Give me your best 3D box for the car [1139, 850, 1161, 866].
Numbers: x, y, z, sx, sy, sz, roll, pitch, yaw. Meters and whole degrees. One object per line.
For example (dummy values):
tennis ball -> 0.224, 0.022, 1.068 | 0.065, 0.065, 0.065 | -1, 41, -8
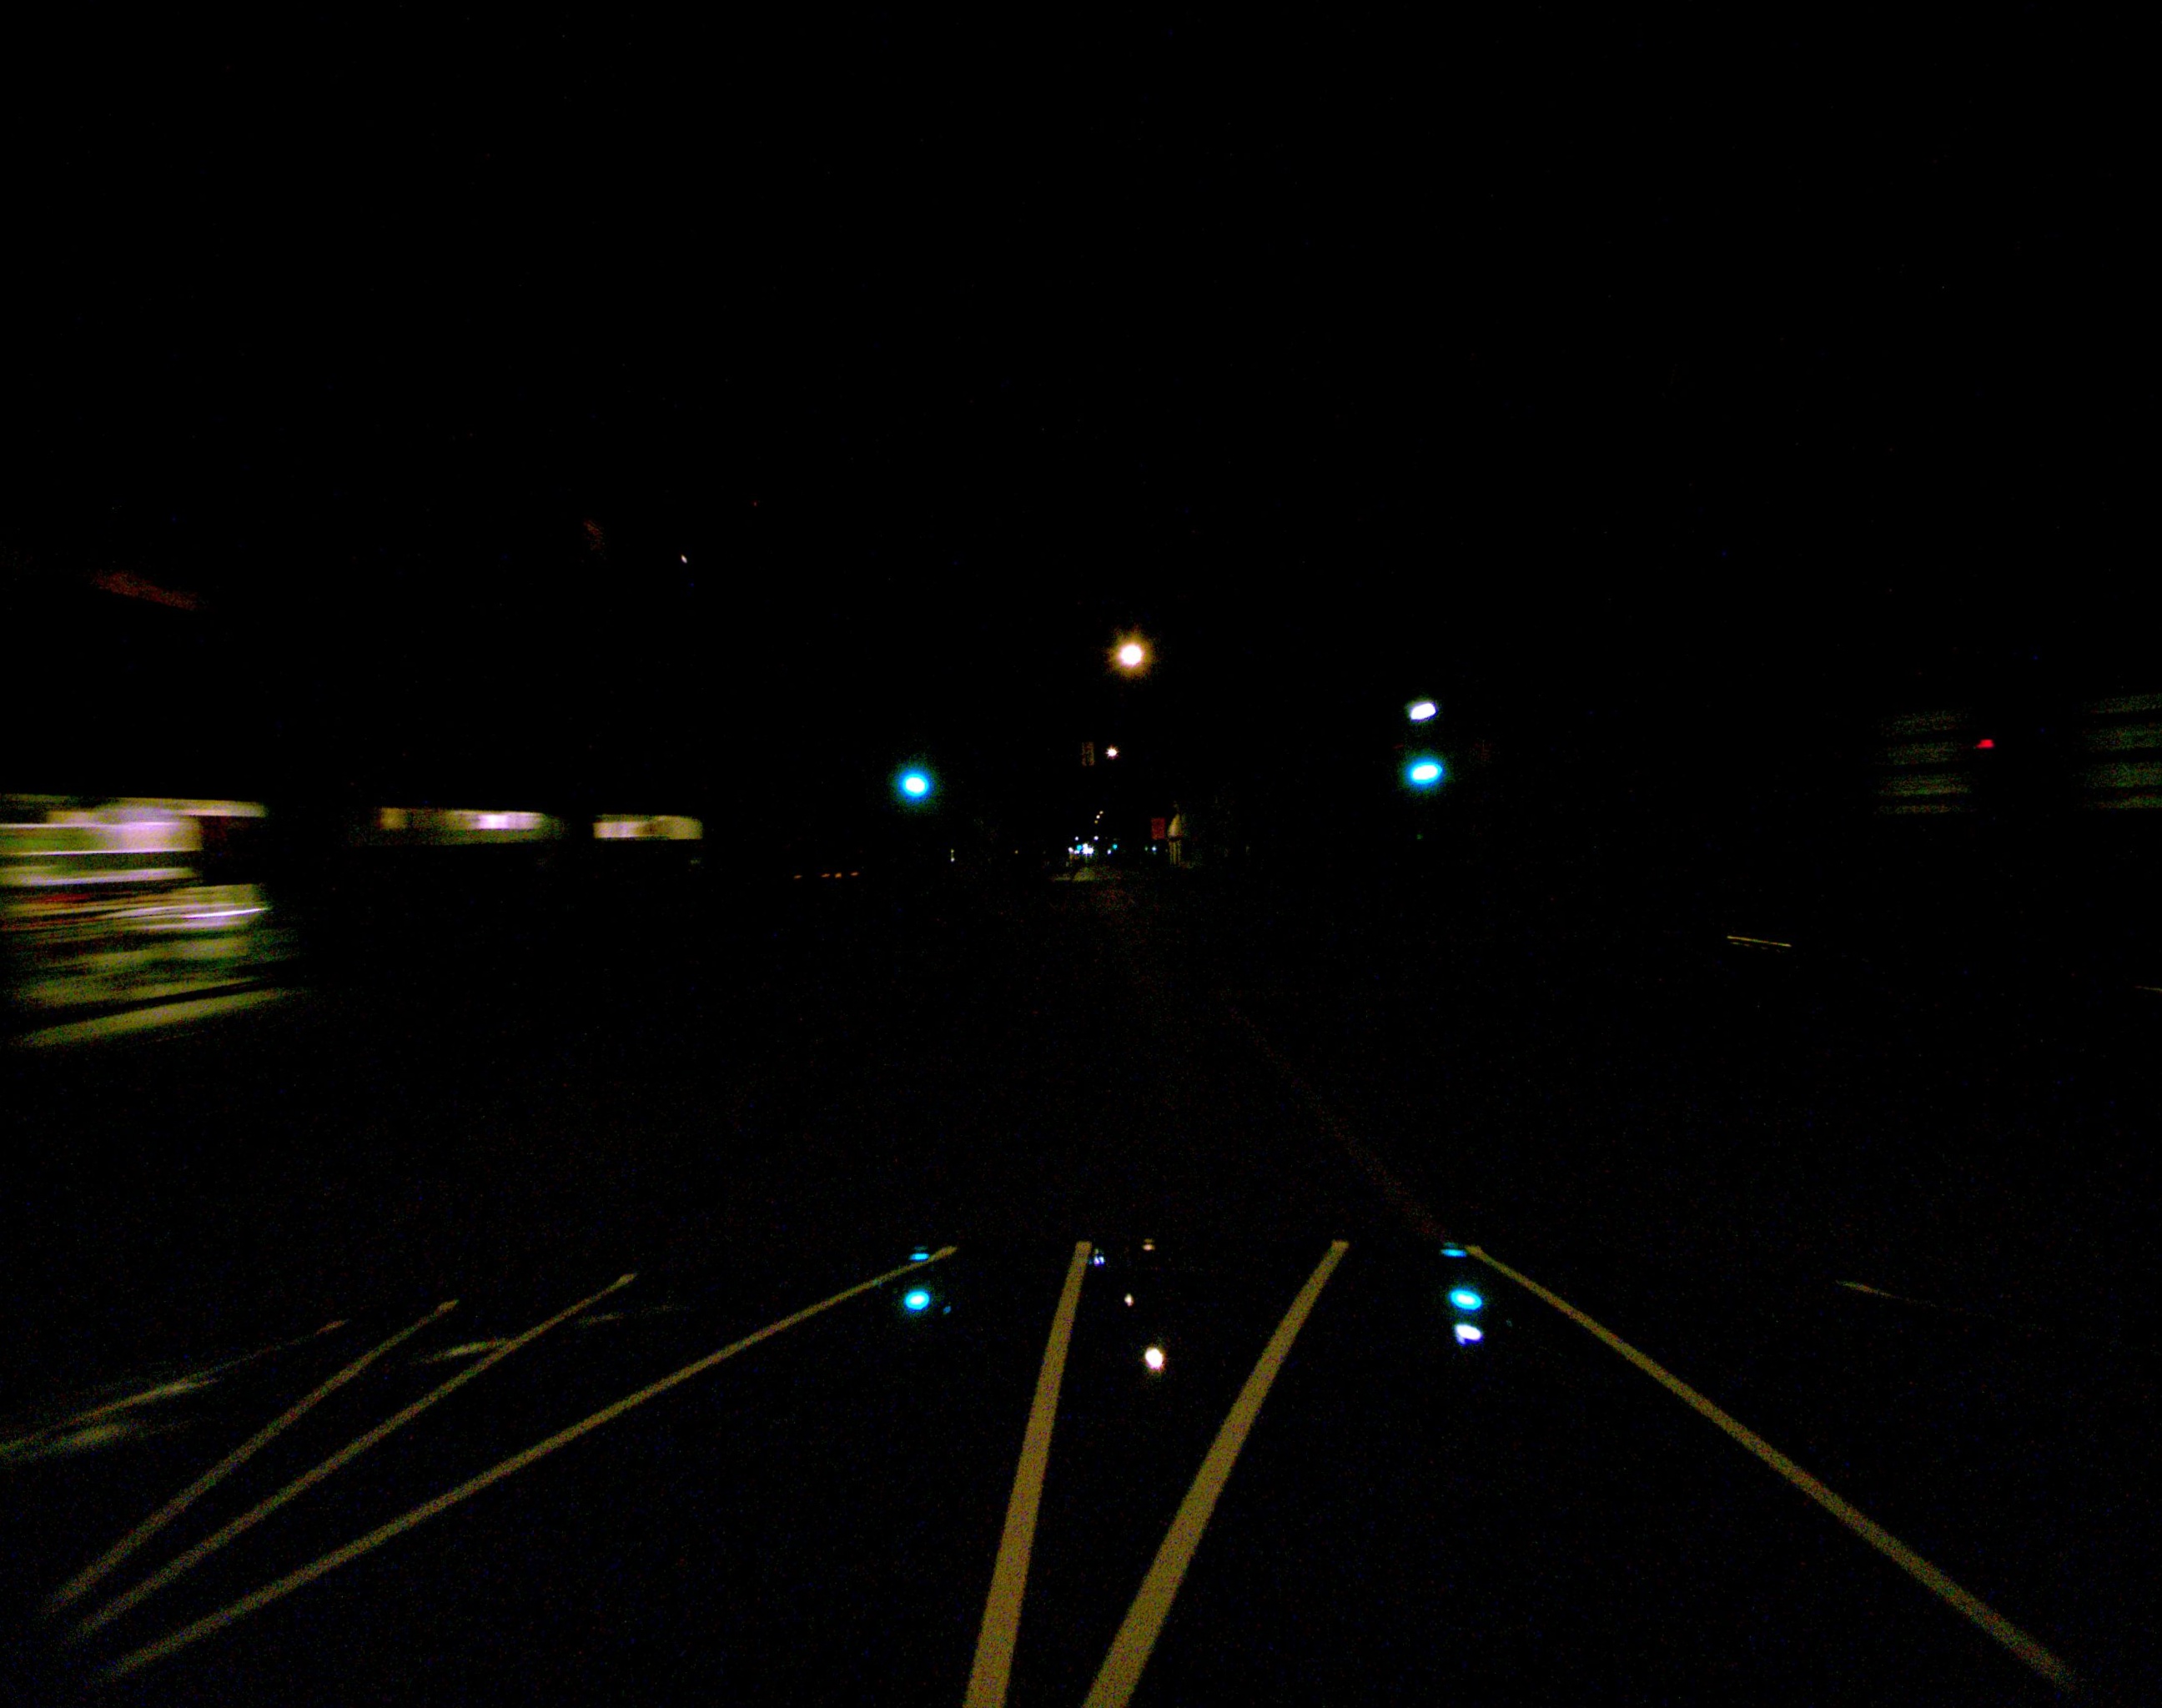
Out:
car -> 6.869, 0.413, 75.563 | 1.731, 1.477, 4.291 | -3, 0, 0

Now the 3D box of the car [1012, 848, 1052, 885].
car -> -2.559, 0.607, 40.739 | 1.916, 1.816, 4.899 | -2, 0, -1

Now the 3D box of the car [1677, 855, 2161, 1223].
car -> 5.473, 0.813, 3.984 | 1.652, 1.506, 3.701 | -3, 1, -3
